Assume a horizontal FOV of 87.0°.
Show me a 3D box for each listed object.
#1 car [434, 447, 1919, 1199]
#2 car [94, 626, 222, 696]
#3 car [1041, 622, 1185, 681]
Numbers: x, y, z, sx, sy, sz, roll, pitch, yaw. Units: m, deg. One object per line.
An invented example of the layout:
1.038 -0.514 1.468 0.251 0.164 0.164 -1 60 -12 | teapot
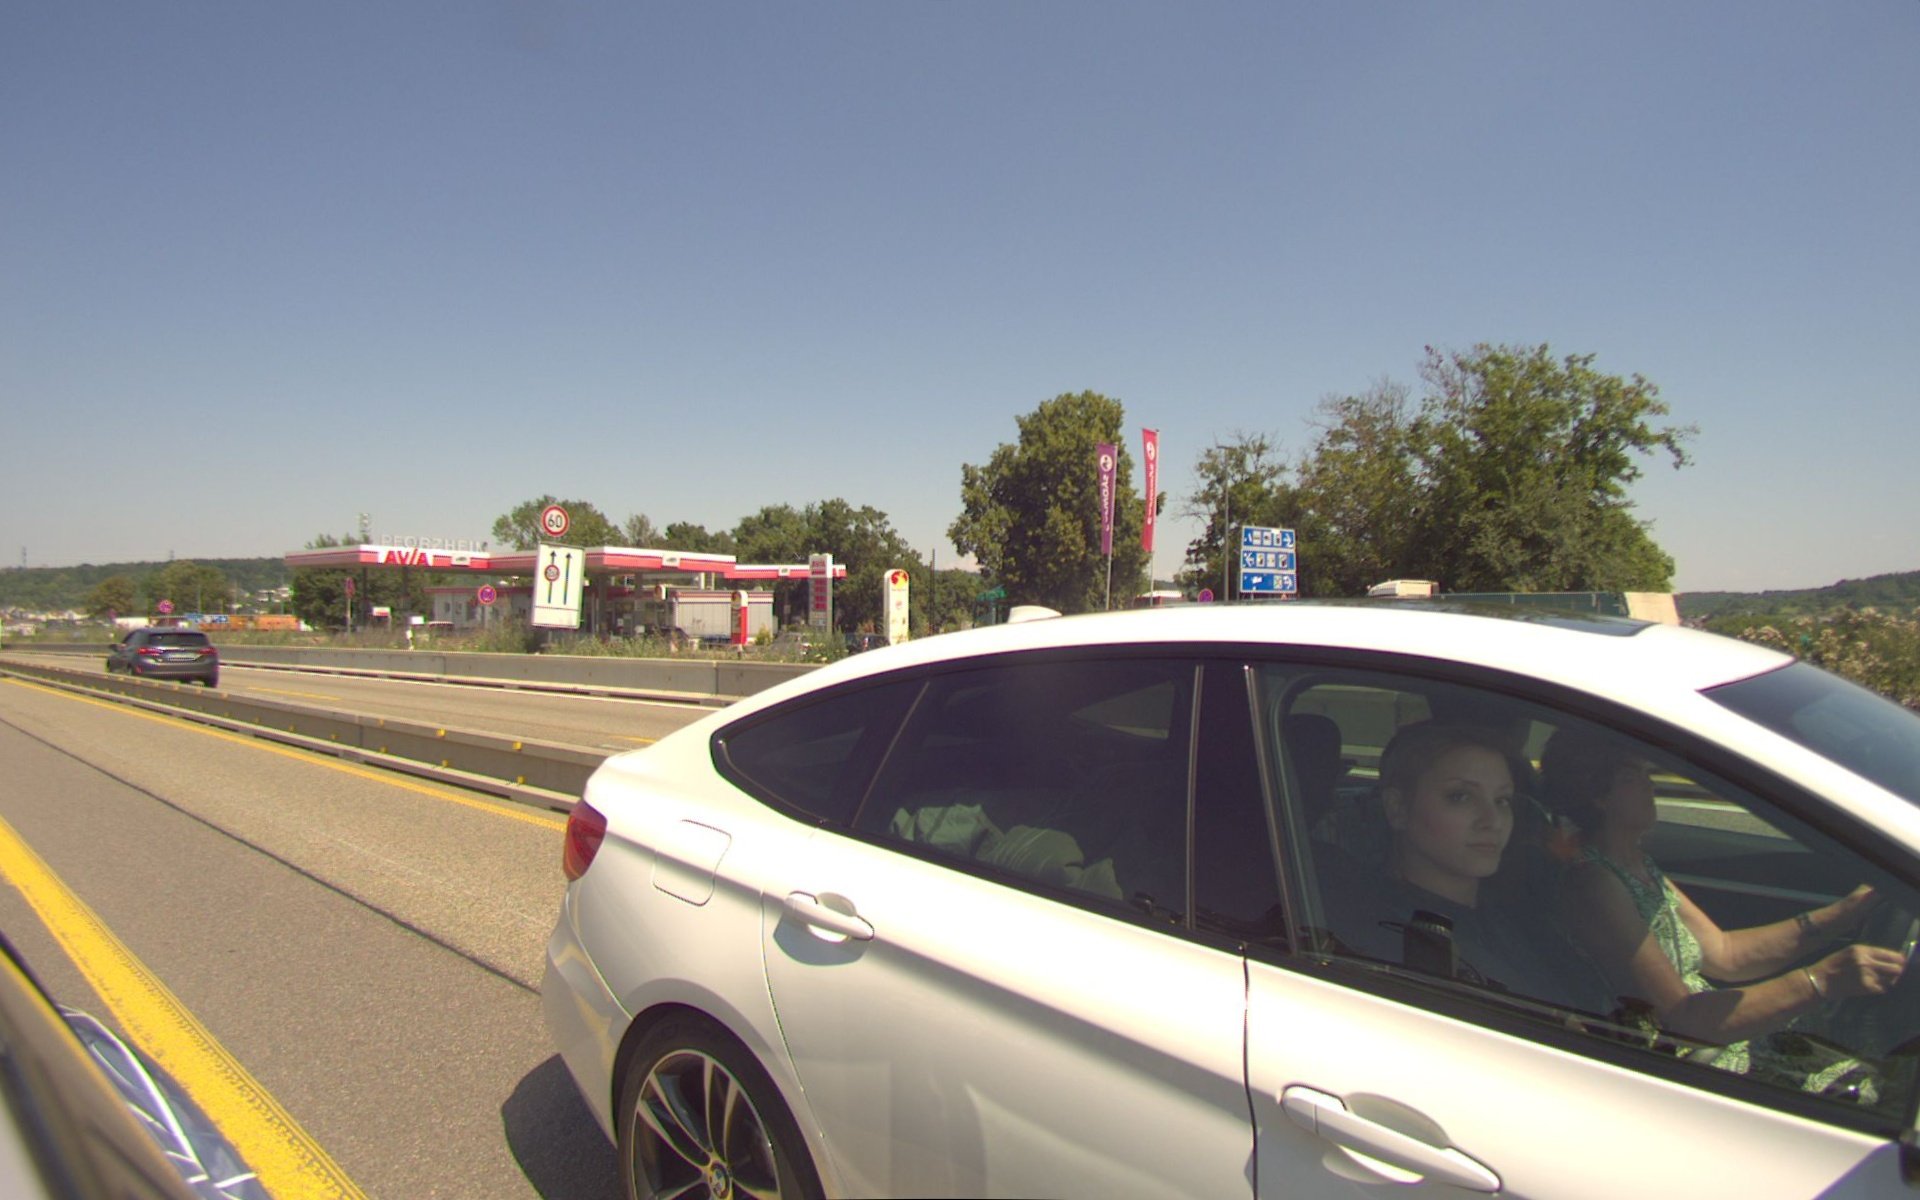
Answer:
1.173 0.645 1.634 5.069 1.546 1.777 -1 0 40 | car
-19.646 1.415 24.736 3.998 1.497 1.775 -1 0 41 | car
3.879 1.270 25.947 3.406 1.386 1.436 -1 0 41 | car
